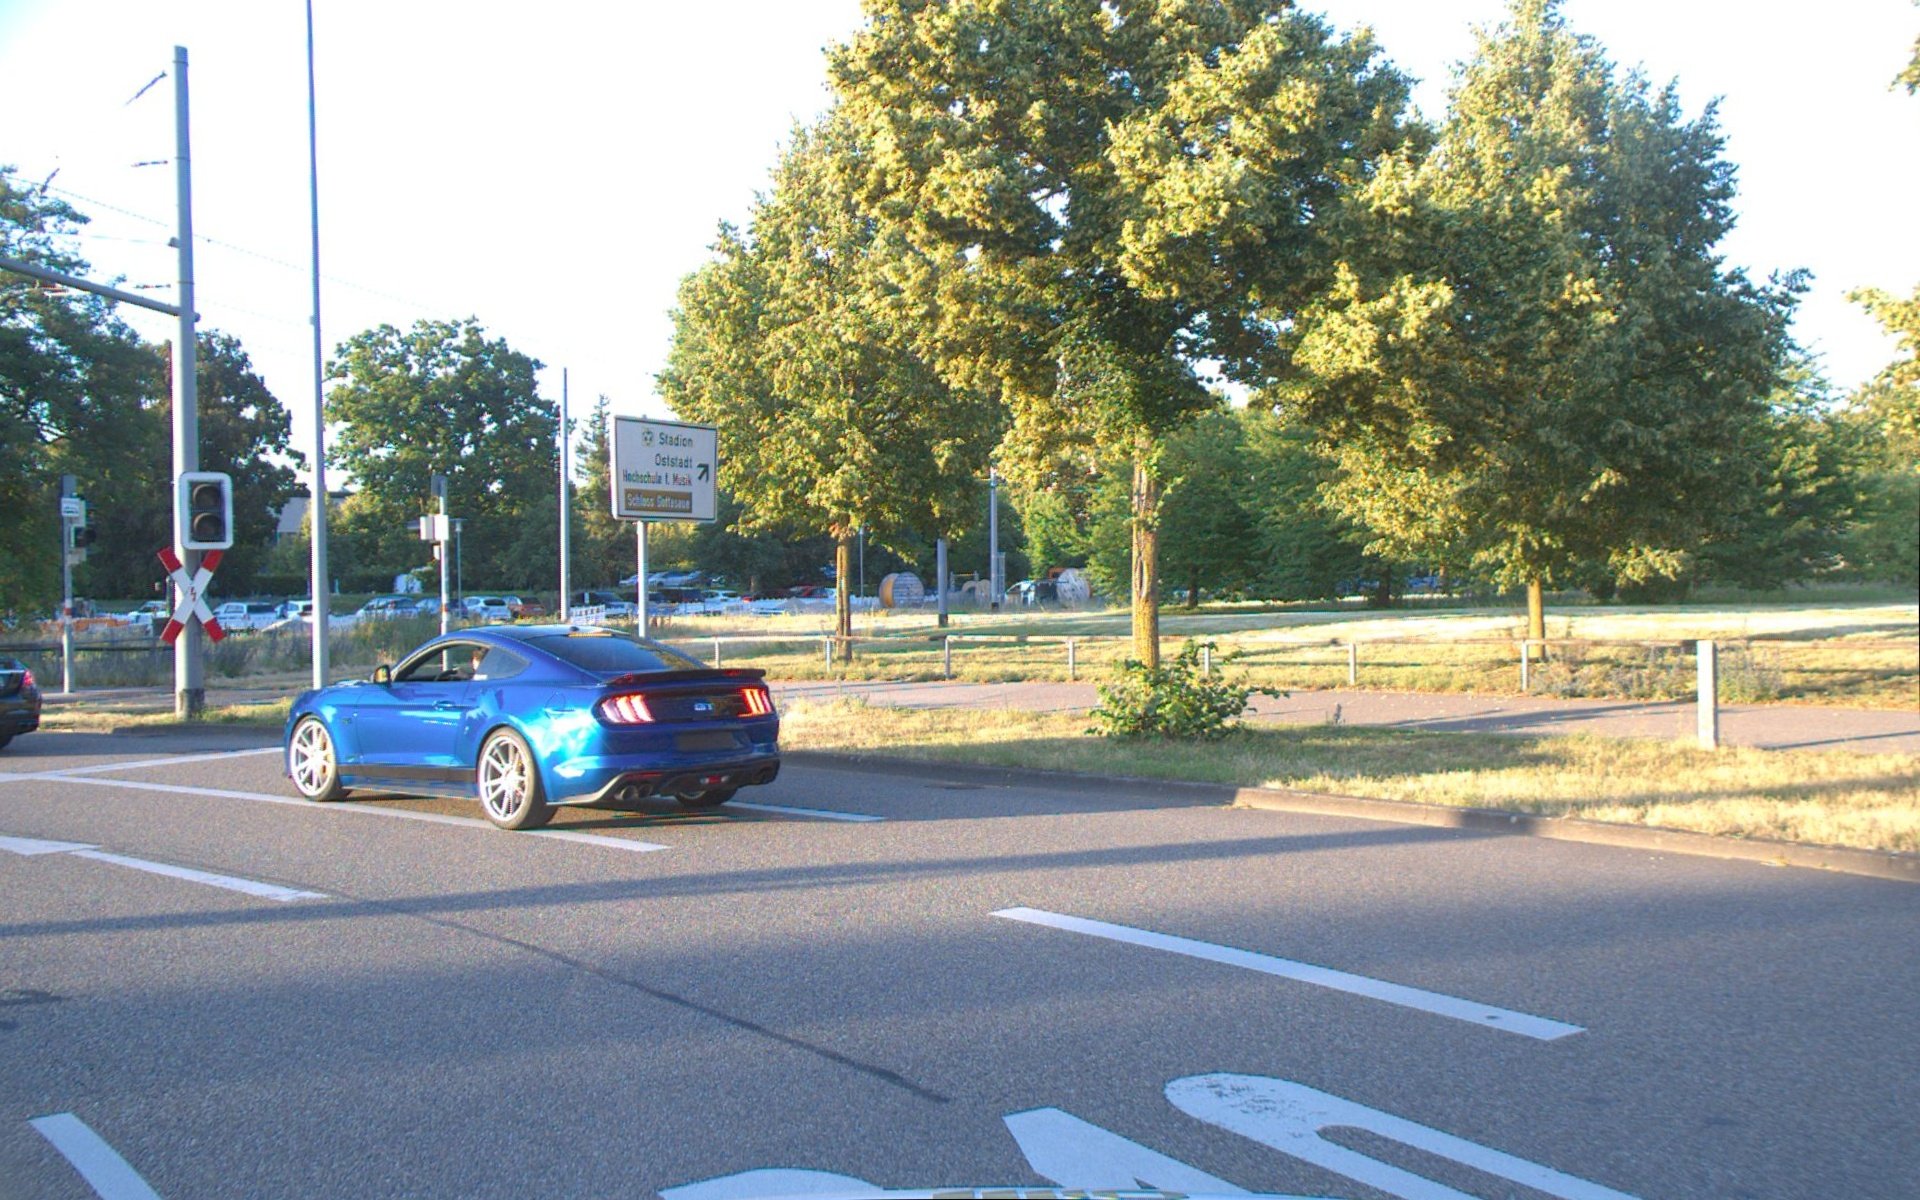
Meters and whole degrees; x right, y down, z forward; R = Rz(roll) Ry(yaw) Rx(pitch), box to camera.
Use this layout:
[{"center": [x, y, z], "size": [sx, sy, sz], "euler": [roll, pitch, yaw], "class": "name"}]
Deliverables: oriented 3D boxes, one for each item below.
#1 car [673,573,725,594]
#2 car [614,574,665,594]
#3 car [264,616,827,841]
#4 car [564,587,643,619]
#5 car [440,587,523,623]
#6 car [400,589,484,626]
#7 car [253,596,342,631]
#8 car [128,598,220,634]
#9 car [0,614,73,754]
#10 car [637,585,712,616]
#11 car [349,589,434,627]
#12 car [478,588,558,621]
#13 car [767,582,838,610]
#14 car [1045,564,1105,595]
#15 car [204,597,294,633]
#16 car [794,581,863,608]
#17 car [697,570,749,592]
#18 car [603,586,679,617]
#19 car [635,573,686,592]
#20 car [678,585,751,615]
[{"center": [-21.527, -1.378, 136.554], "size": [1.868, 1.581, 3.979], "euler": [-1, 0, 40], "class": "car"}, {"center": [-27.479, -1.385, 141.820], "size": [1.868, 1.581, 3.979], "euler": [-1, 0, 40], "class": "car"}, {"center": [-3.269, 0.817, 12.477], "size": [4.588, 1.365, 1.945], "euler": [-1, 0, 43], "class": "car"}, {"center": [-18.946, 0.171, 87.798], "size": [4.018, 1.581, 1.896], "euler": [-1, 0, 37], "class": "car"}, {"center": [-23.753, 0.256, 82.045], "size": [3.921, 1.691, 1.945], "euler": [-1, 0, 37], "class": "car"}, {"center": [-25.180, 0.352, 80.344], "size": [3.921, 1.691, 1.945], "euler": [-1, 0, 37], "class": "car"}, {"center": [-29.836, 0.629, 74.469], "size": [3.921, 1.471, 1.945], "euler": [-1, 0, 37], "class": "car"}, {"center": [-33.565, 0.691, 70.644], "size": [3.921, 1.471, 1.945], "euler": [-1, 0, 37], "class": "car"}, {"center": [-12.071, 0.911, 18.079], "size": [4.326, 1.452, 1.957], "euler": [-1, 0, 24], "class": "car"}, {"center": [-15.763, 0.033, 91.332], "size": [3.921, 1.581, 1.896], "euler": [-1, 0, 37], "class": "car"}, {"center": [-27.049, 0.375, 78.611], "size": [3.921, 1.691, 1.945], "euler": [-1, 0, 37], "class": "car"}, {"center": [-22.539, 0.230, 84.254], "size": [3.921, 1.581, 1.896], "euler": [-1, 0, 37], "class": "car"}, {"center": [-9.435, -0.220, 98.935], "size": [3.921, 1.581, 1.896], "euler": [-1, 0, 37], "class": "car"}, {"center": [8.348, -1.499, 119.710], "size": [3.921, 2.132, 1.896], "euler": [-1, 0, 37], "class": "car"}, {"center": [-31.339, 0.666, 72.834], "size": [3.921, 1.471, 1.945], "euler": [-1, 0, 37], "class": "car"}, {"center": [-8.010, -0.332, 100.937], "size": [3.921, 1.581, 1.896], "euler": [-1, 0, 37], "class": "car"}, {"center": [-19.292, -1.531, 134.878], "size": [1.962, 1.775, 3.980], "euler": [0, 0, 39], "class": "car"}, {"center": [-17.240, 0.072, 89.413], "size": [3.921, 1.581, 1.896], "euler": [-1, 0, 37], "class": "car"}, {"center": [-25.347, -1.482, 139.943], "size": [1.868, 1.581, 3.979], "euler": [-1, 0, 40], "class": "car"}, {"center": [-13.883, -0.008, 93.525], "size": [3.921, 1.581, 1.896], "euler": [-1, 0, 37], "class": "car"}]
